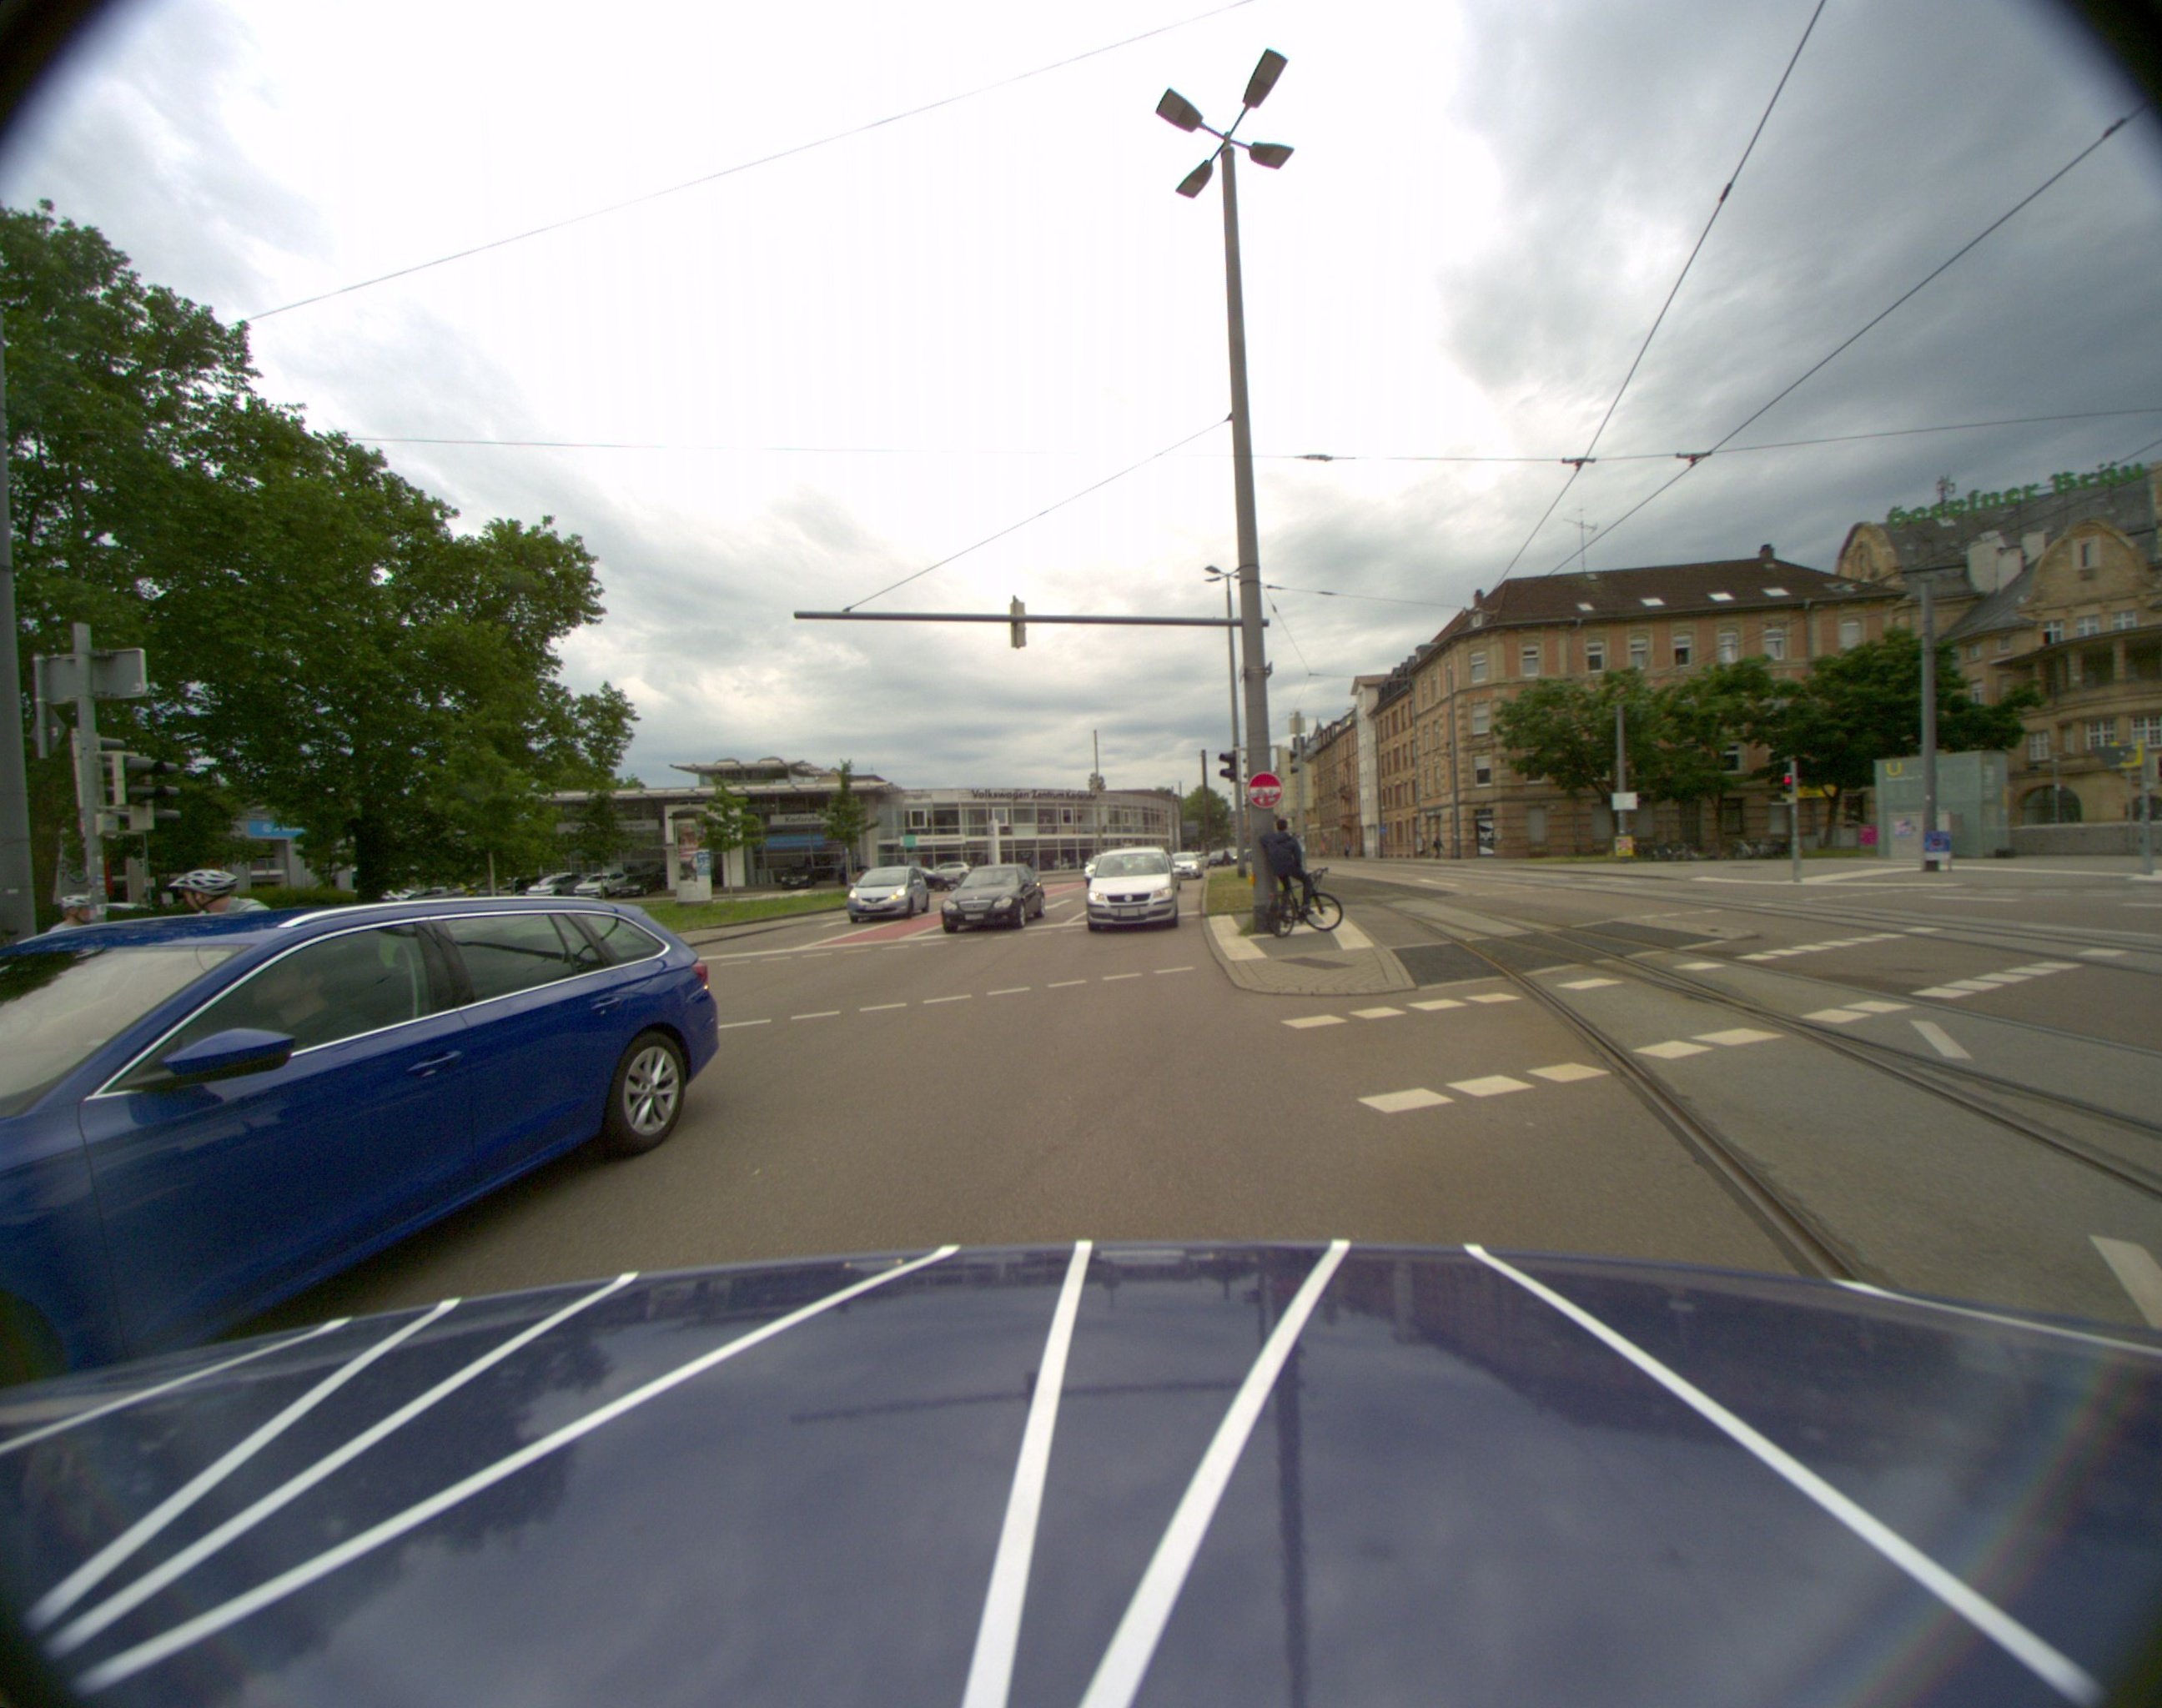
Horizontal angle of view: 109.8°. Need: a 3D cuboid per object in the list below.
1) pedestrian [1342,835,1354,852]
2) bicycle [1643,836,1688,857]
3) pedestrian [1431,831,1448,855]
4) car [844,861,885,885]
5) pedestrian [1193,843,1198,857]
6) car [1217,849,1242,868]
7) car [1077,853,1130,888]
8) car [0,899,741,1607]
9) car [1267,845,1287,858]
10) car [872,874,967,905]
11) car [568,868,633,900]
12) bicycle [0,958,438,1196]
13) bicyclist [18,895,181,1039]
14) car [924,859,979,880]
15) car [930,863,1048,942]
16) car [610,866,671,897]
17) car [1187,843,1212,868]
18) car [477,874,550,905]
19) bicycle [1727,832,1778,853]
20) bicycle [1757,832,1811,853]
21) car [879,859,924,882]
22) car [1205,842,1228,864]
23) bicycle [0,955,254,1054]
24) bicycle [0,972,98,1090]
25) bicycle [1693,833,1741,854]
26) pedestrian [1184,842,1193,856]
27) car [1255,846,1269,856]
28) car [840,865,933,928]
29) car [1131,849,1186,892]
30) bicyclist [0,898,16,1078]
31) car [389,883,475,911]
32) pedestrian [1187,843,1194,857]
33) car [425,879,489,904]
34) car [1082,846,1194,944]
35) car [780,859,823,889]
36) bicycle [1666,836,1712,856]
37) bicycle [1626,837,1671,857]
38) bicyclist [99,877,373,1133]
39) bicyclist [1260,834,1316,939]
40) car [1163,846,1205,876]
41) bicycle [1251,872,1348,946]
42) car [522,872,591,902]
[{"bbox_3d":[29.027,-1.166,82.661,0.921,1.822,0.719,-2,0,-27],"label":"pedestrian"},{"bbox_3d":[30.665,-0.403,39.914,0.754,1.024,2.398,-2,0,8],"label":"bicycle"},{"bbox_3d":[25.883,-0.773,54.908,0.811,1.666,0.799,-2,1,5],"label":"pedestrian"},{"bbox_3d":[-15.666,1.333,54.950,1.960,1.517,4.219,-3,2,-28],"label":"car"},{"bbox_3d":[14.975,-0.521,99.250,0.652,1.904,0.603,-2,1,9],"label":"pedestrian"},{"bbox_3d":[15.270,0.416,78.191,2.370,1.744,5.133,-2,0,12],"label":"car"},{"bbox_3d":[1.187,0.780,37.807,1.980,1.550,4.148,0,1,12],"label":"car"},{"bbox_3d":[-3.367,1.082,2.776,1.769,1.428,4.758,-3,0,4],"label":"car"},{"bbox_3d":[24.843,-0.310,96.437,1.887,1.461,4.466,-2,0,7],"label":"car"},{"bbox_3d":[-9.152,2.010,43.313,4.876,1.534,1.892,-2,0,5],"label":"car"},{"bbox_3d":[-34.002,2.060,53.887,1.956,1.589,4.223,-2,6,-3],"label":"car"},{"bbox_3d":[-5.928,1.437,5.409,0.762,1.072,2.017,-4,0,7],"label":"bicycle"},{"bbox_3d":[-11.160,1.247,8.675,0.886,1.513,0.671,-1,0,-11],"label":"bicyclist"},{"bbox_3d":[-9.871,1.169,58.114,3.905,1.433,1.732,-2,1,-1],"label":"car"},{"bbox_3d":[-1.958,1.012,17.629,1.769,1.362,4.423,-4,1,5],"label":"car"},{"bbox_3d":[-31.173,1.908,53.976,1.956,1.450,4.222,-2,7,-3],"label":"car"},{"bbox_3d":[10.341,0.090,66.283,1.997,2.002,4.002,-2,0,9],"label":"car"},{"bbox_3d":[-39.554,2.416,53.103,1.956,1.505,4.224,-2,6,-3],"label":"car"},{"bbox_3d":[34.479,-0.568,39.044,0.754,1.024,2.398,-2,0,8],"label":"bicycle"},{"bbox_3d":[35.909,-0.567,38.856,0.754,1.024,2.398,-2,0,8],"label":"bicycle"},{"bbox_3d":[-13.309,1.240,56.264,1.794,1.552,4.024,-3,1,-35],"label":"car"},{"bbox_3d":[12.837,-0.121,72.152,1.997,2.002,4.002,-2,0,9],"label":"car"},{"bbox_3d":[-10.904,1.694,8.700,1.947,0.992,0.601,1,0,-12],"label":"bicycle"},{"bbox_3d":[-10.844,1.700,7.115,1.994,0.993,0.578,0,2,-18],"label":"bicycle"},{"bbox_3d":[32.937,-0.529,39.394,0.754,1.024,2.398,-2,1,8],"label":"bicycle"},{"bbox_3d":[16.567,-0.757,116.937,1.176,2.002,1.032,-2,1,9],"label":"pedestrian"},{"bbox_3d":[30.503,-0.572,128.168,1.834,1.635,4.232,-2,0,7],"label":"car"},{"bbox_3d":[-5.464,1.151,21.831,1.709,1.475,3.932,-4,0,-2],"label":"car"},{"bbox_3d":[2.870,0.557,27.688,1.809,1.398,3.984,-2,0,7],"label":"car"},{"bbox_3d":[-10.820,1.312,7.120,0.735,1.741,0.585,-1,1,-18],"label":"bicyclist"},{"bbox_3d":[-43.980,2.906,51.579,4.148,1.505,1.653,-2,5,-3],"label":"car"},{"bbox_3d":[12.710,-0.447,88.084,0.662,1.671,0.651,-2,1,7],"label":"pedestrian"},{"bbox_3d":[-44.221,2.638,53.896,3.121,1.505,1.439,-2,5,-3],"label":"car"},{"bbox_3d":[1.074,0.700,15.731,1.863,1.609,5.062,-3,0,2],"label":"car"},{"bbox_3d":[-20.040,1.403,54.634,1.957,1.635,4.667,-2,5,-9],"label":"car"},{"bbox_3d":[31.765,-0.424,39.767,0.754,1.024,2.398,-2,0,8],"label":"bicycle"},{"bbox_3d":[29.864,-0.377,40.030,0.836,1.024,2.398,-2,0,8],"label":"bicycle"},{"bbox_3d":[-5.953,1.006,5.424,0.790,1.609,0.933,-4,1,5],"label":"bicyclist"},{"bbox_3d":[3.339,0.501,12.257,0.656,1.630,0.516,-3,1,-30],"label":"bicyclist"},{"bbox_3d":[5.570,0.358,40.877,1.971,1.447,4.196,-2,0,11],"label":"car"},{"bbox_3d":[3.575,0.873,12.393,1.617,1.064,0.527,-2,1,-31],"label":"bicycle"},{"bbox_3d":[-36.846,2.291,53.513,1.956,1.459,4.224,-2,5,-3],"label":"car"}]
